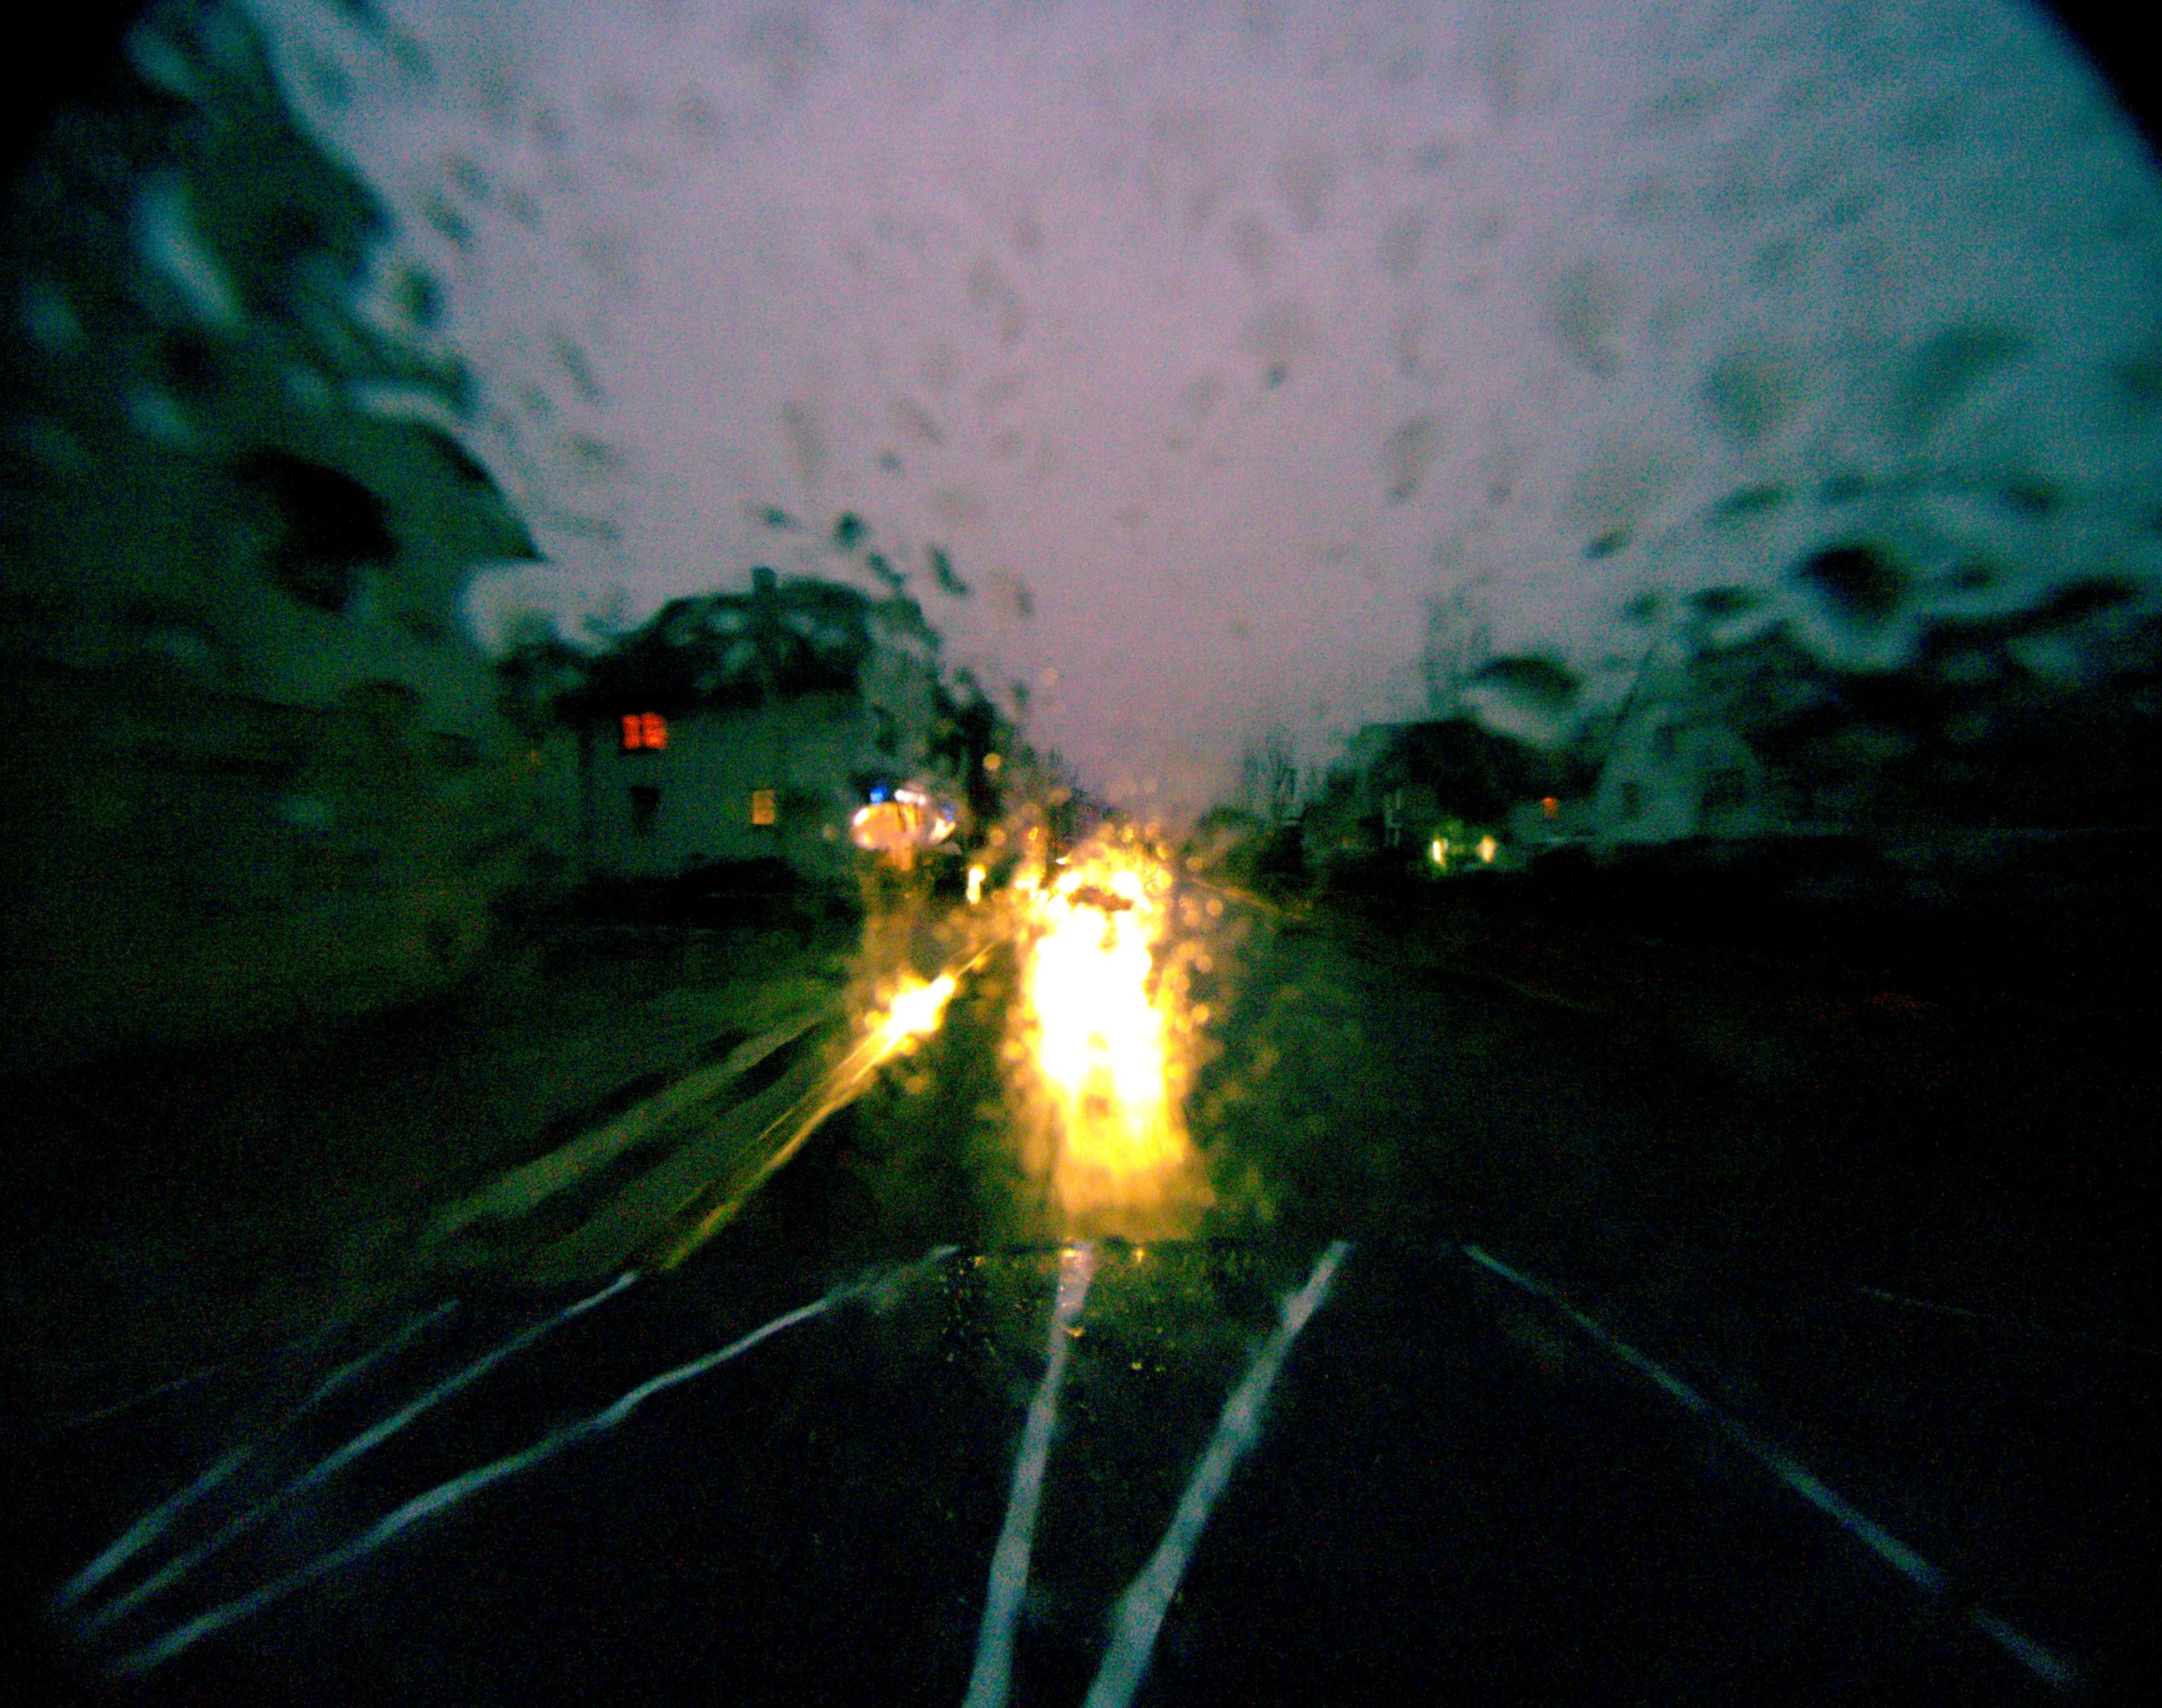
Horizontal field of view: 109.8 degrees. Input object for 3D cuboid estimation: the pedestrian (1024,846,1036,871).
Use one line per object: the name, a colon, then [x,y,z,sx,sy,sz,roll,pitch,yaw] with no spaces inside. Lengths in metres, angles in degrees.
pedestrian: [-3.318,0.271,49.404,0.656,1.596,0.723,0,0,4]

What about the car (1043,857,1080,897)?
car: [-0.975,1.179,40.341,1.748,2.002,3.808,1,0,1]

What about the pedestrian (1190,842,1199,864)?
pedestrian: [10.371,-0.072,69.510,0.674,2.002,0.604,-2,1,2]

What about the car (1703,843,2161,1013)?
car: [10.264,0.747,8.491,4.876,1.674,2.001,0,-1,4]

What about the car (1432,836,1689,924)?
car: [10.288,0.544,16.550,4.424,1.790,1.845,0,0,1]

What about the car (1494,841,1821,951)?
car: [10.293,0.714,13.846,4.513,1.856,1.868,0,0,1]

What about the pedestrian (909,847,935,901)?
pedestrian: [-5.134,0.639,24.593,0.609,1.711,0.651,1,0,7]

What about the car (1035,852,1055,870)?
car: [-3.721,0.670,78.437,1.781,1.805,3.997,0,0,-7]

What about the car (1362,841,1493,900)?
car: [12.236,0.585,27.009,3.804,1.940,1.750,1,0,1]

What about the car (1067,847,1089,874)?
car: [-0.181,0.474,58.858,1.531,2.002,4.001,0,0,2]

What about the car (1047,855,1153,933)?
car: [0.613,0.873,18.981,2.269,1.633,5.067,-1,0,5]

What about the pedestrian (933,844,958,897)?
pedestrian: [-4.591,0.558,25.756,0.649,1.786,0.509,1,0,13]

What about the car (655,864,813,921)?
car: [-9.238,0.994,20.314,3.555,1.378,1.662,1,0,14]

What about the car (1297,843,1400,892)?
car: [11.445,0.580,32.711,3.804,1.940,1.750,1,0,1]

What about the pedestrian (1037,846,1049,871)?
pedestrian: [-2.466,0.266,49.342,0.731,1.596,0.723,0,0,4]

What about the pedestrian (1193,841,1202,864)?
pedestrian: [10.787,-0.135,70.233,0.666,2.020,0.548,-2,0,-1]

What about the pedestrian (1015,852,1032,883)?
pedestrian: [-3.248,0.763,43.124,0.819,1.754,1.060,0,0,1]

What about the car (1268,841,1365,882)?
car: [11.035,0.357,35.821,3.997,1.838,1.976,0,0,1]

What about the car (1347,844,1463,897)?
car: [12.748,0.628,30.088,3.804,1.940,1.750,1,0,1]

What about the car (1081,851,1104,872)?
car: [1.078,0.716,73.465,1.866,2.002,3.843,0,0,-3]

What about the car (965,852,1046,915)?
car: [-2.267,0.848,24.033,1.998,1.774,4.520,0,0,1]

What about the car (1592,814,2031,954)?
car: [10.475,0.410,11.209,4.513,1.856,2.000,0,0,1]

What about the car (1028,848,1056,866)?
car: [-4.452,0.362,86.382,2.002,2.002,4.300,0,0,-21]

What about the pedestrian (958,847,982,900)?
pedestrian: [-3.663,0.642,25.085,0.649,1.711,0.469,1,0,8]
